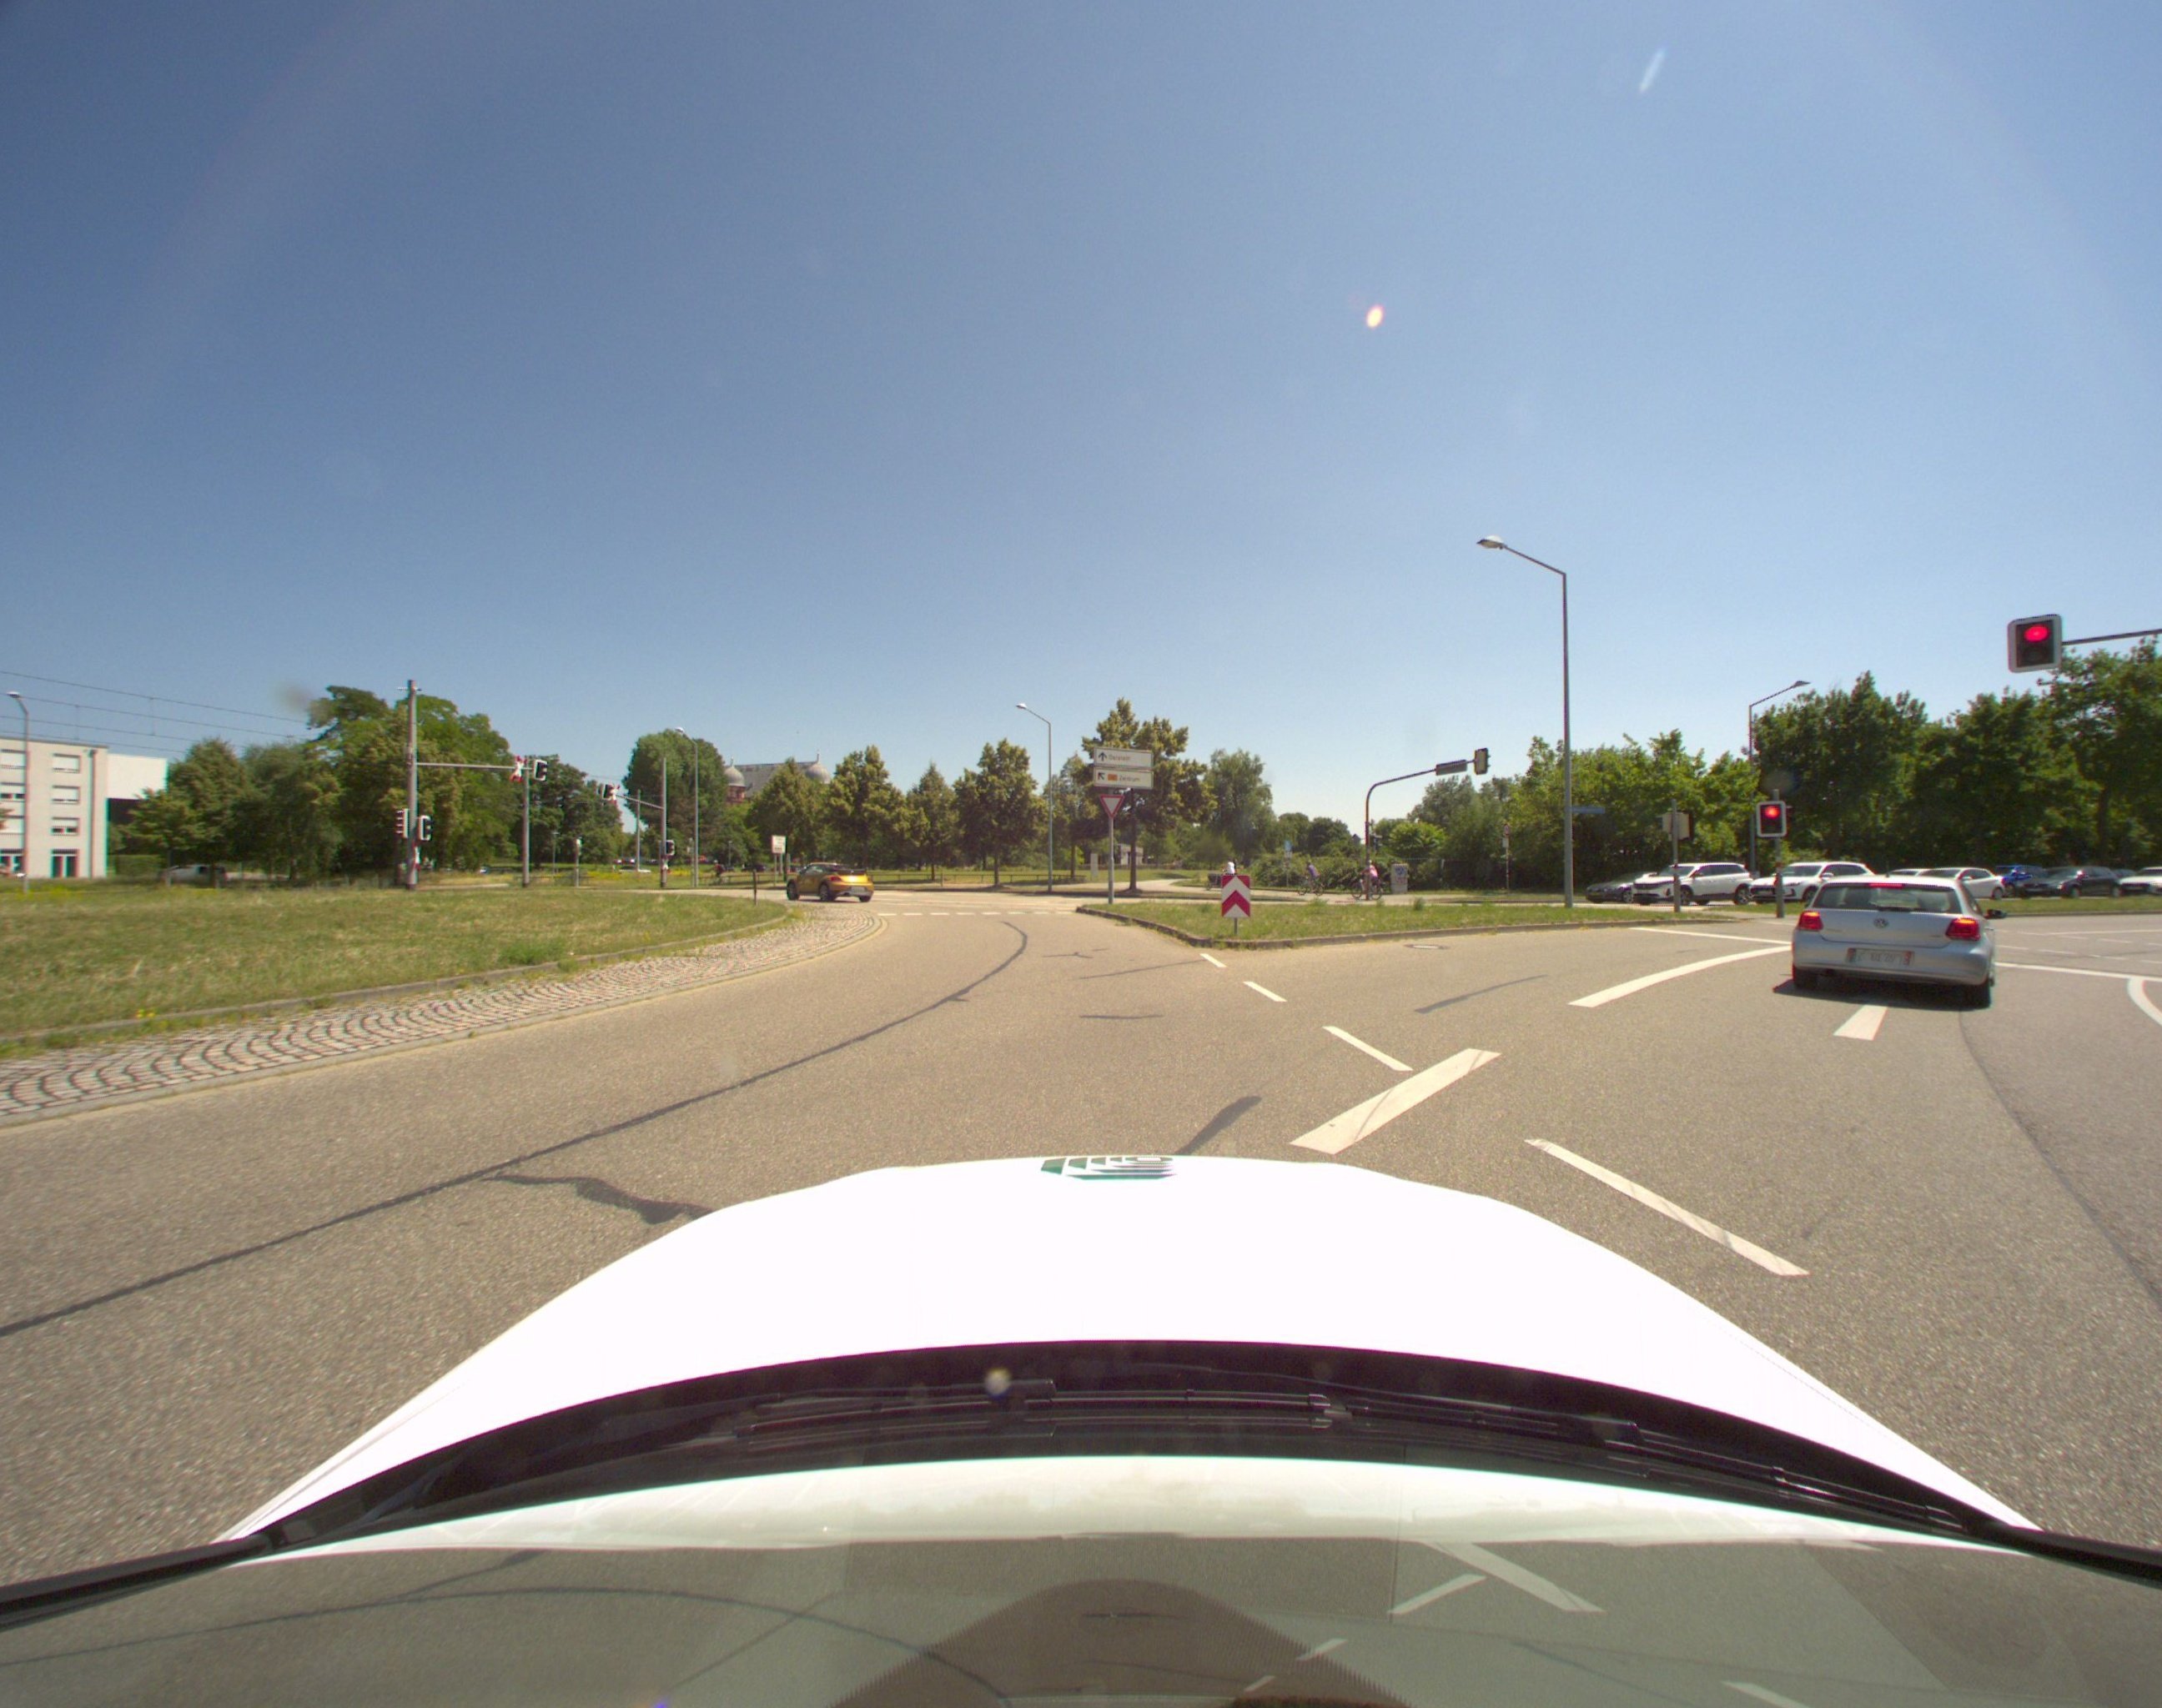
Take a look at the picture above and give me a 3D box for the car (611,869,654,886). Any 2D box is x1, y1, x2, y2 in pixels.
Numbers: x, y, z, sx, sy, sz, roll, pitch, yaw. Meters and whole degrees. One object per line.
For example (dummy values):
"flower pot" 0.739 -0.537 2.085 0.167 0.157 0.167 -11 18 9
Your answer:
"car" -53.888 2.861 97.920 3.994 2.014 1.989 1 -2 -16

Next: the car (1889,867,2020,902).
"car" 37.467 1.282 34.956 4.397 1.422 1.857 0 -1 -12

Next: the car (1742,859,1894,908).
"car" 26.556 1.031 29.389 4.397 1.683 1.857 0 -1 -12

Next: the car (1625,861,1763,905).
"car" 23.587 1.095 31.391 4.397 1.618 1.857 0 -1 -12

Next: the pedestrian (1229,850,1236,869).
"pedestrian" 14.208 0.506 76.287 0.568 1.731 0.678 -1 -3 19

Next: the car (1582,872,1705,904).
"car" 23.999 1.430 34.796 4.397 1.270 1.857 0 -1 -12

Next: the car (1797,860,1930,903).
"car" 32.486 1.109 33.832 4.397 1.683 1.857 0 -1 -12

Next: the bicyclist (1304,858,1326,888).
"bicyclist" 11.970 0.955 41.684 0.952 1.531 1.188 0 0 7

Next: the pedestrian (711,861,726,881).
"pedestrian" -26.022 1.215 58.451 0.814 1.451 0.708 0 -2 -6

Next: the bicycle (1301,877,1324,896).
"bicycle" 11.885 1.652 41.799 0.891 0.900 1.766 1 1 8

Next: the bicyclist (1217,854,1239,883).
"bicyclist" 8.233 0.823 45.524 0.760 1.614 0.966 2 -3 -42

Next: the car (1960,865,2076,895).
"car" 46.009 1.263 40.027 4.397 1.422 1.857 0 -1 -12

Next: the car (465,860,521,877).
"car" -57.987 1.466 80.394 3.998 1.574 1.987 1 -2 -19

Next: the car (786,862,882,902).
"car" -9.171 1.016 30.122 3.616 1.403 1.842 -1 -2 44

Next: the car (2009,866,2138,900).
"car" 44.108 1.264 36.228 4.397 1.422 1.857 0 -1 -12

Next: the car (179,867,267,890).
"car" -64.085 1.840 60.912 1.976 1.684 4.021 -1 -2 24

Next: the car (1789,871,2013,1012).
"car" 10.592 0.956 10.548 4.022 1.422 1.760 0 -1 -44

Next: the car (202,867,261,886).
"car" -90.654 2.441 86.963 4.019 2.014 1.977 2 -3 -39

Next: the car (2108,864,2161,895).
"car" 50.579 1.156 37.825 4.397 1.422 1.857 0 -1 -12

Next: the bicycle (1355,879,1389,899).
"bicycle" 13.825 1.642 38.733 0.892 0.900 2.227 1 -2 2

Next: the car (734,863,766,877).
"car" -47.465 2.331 116.945 3.994 2.014 1.989 1 -2 -16

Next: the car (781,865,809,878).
"car" -44.345 2.703 126.432 3.994 2.014 1.989 1 -2 -16

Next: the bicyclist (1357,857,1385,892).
"bicyclist" 13.766 0.968 38.680 0.953 1.610 1.186 0 -2 2

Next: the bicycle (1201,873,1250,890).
"bicycle" 8.072 1.550 45.664 0.744 0.912 2.894 2 -3 -41

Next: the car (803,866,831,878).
"car" -42.538 2.901 131.471 3.984 2.014 1.994 1 -2 -8

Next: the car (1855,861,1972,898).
"car" 39.665 1.202 38.823 4.397 1.683 1.857 0 -1 -12

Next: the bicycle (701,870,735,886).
"bicycle" -26.083 1.753 58.549 2.049 1.115 0.728 0 -2 -6

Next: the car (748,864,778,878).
"car" -47.829 2.544 122.546 3.994 2.014 1.989 1 -2 -16
